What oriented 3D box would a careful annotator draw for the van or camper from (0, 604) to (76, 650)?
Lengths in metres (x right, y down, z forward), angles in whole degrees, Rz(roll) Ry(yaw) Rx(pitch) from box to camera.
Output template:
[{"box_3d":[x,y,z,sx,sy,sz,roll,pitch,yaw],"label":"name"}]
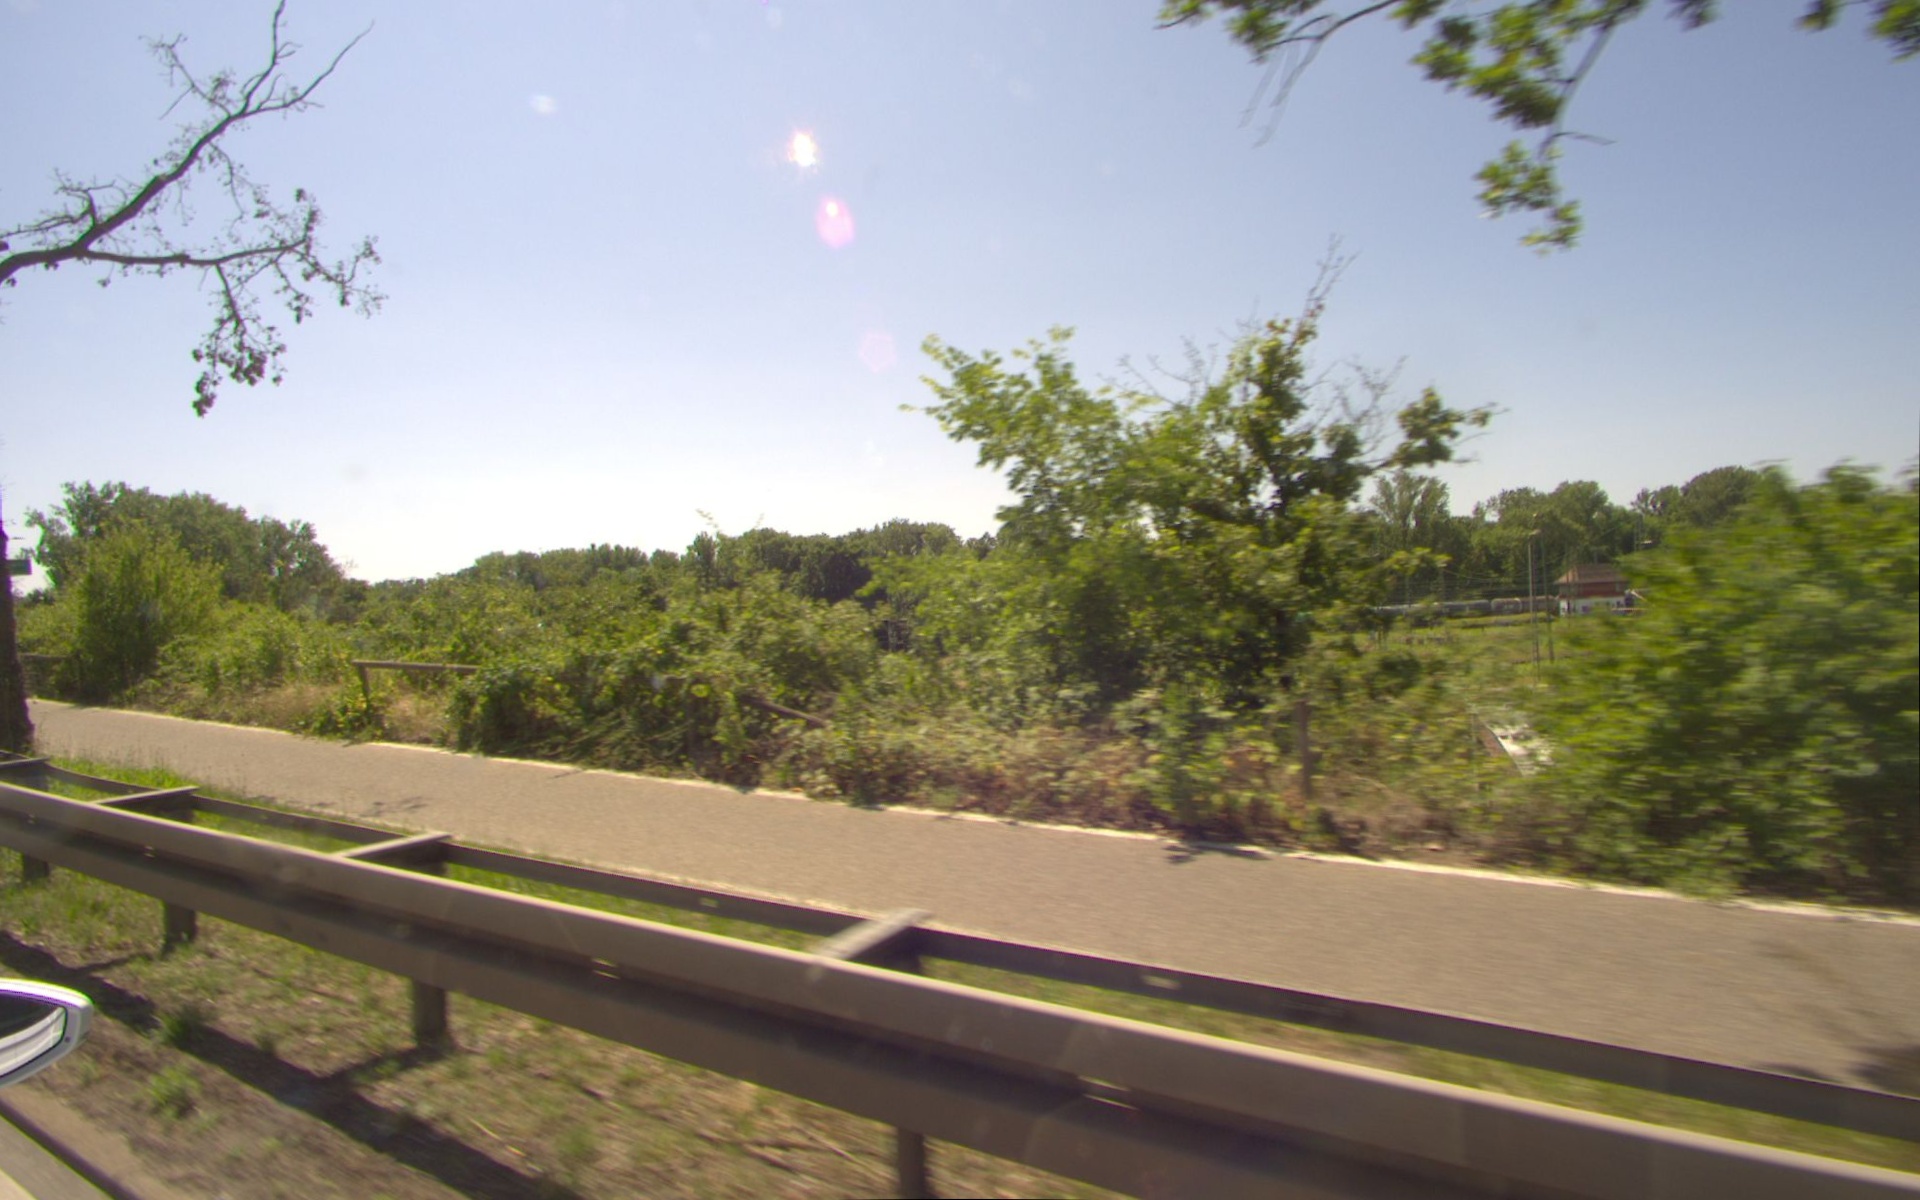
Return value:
[{"box_3d":[-58.806,1.686,63.785,2.176,2.746,5.902,-1,-1,-26],"label":"van or camper"}]
